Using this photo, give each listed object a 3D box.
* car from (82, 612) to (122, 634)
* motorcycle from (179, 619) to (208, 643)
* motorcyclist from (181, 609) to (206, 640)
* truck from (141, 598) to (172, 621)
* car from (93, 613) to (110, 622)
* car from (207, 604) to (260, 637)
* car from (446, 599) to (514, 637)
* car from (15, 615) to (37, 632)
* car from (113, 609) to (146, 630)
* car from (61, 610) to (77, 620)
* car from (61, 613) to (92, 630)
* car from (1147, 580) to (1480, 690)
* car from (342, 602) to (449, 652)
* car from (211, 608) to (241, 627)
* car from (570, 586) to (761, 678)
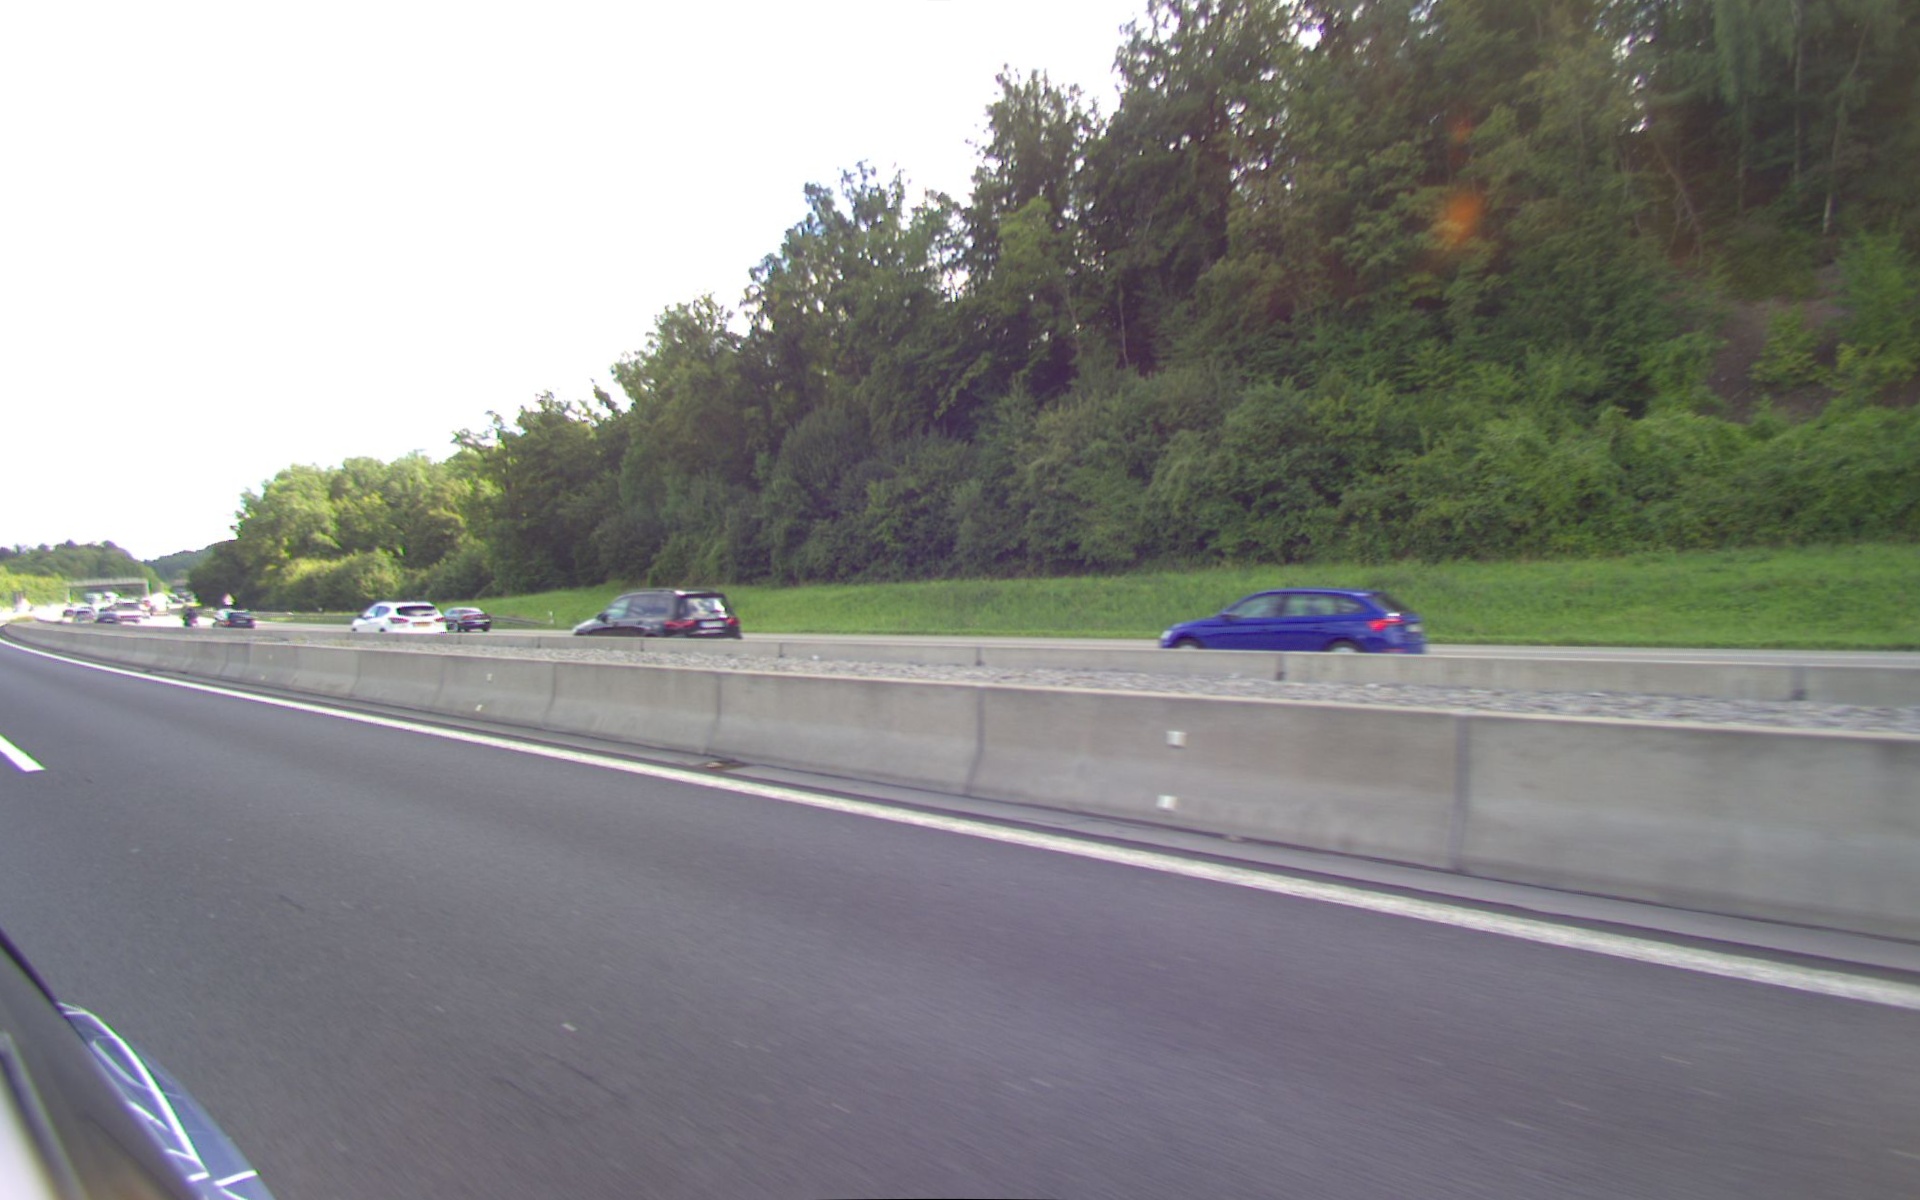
[{"bbox_3d":[-68.845,1.835,81.168,4.779,1.639,1.971,0,0,44],"label":"car"},{"bbox_3d":[-40.909,1.636,54.013,0.912,1.197,2.641,-1,0,-44],"label":"motorcycle"},{"bbox_3d":[-40.908,1.303,54.007,0.922,1.645,0.885,-1,0,43],"label":"motorcyclist"},{"bbox_3d":[-148.143,1.746,186.537,3.409,4.158,13.693,-1,0,-43],"label":"truck"},{"bbox_3d":[-149.319,3.111,176.050,2.012,1.504,5.044,-1,0,-43],"label":"car"},{"bbox_3d":[-46.740,1.275,65.096,4.779,2.029,1.971,0,0,44],"label":"car"},{"bbox_3d":[-27.507,1.025,57.952,4.783,2.050,2.002,-1,0,45],"label":"car"},{"bbox_3d":[-120.479,3.056,130.548,1.970,2.050,4.004,-1,0,-43],"label":"car"},{"bbox_3d":[-90.268,2.078,109.909,2.175,2.146,8.083,-1,0,-43],"label":"car"},{"bbox_3d":[-148.959,2.537,169.206,1.781,1.618,4.486,-1,0,-45],"label":"car"},{"bbox_3d":[-88.603,2.147,101.448,1.960,1.521,5.964,-1,0,-45],"label":"car"},{"bbox_3d":[5.637,0.511,16.551,4.739,1.551,1.972,-1,0,43],"label":"car"},{"bbox_3d":[-18.084,0.841,32.358,4.295,1.471,1.741,-1,0,43],"label":"car"},{"bbox_3d":[-79.378,1.901,109.399,1.971,2.050,4.002,-1,0,-45],"label":"car"},{"bbox_3d":[-6.207,0.627,21.049,4.314,1.710,1.856,-1,0,43],"label":"car"}]
